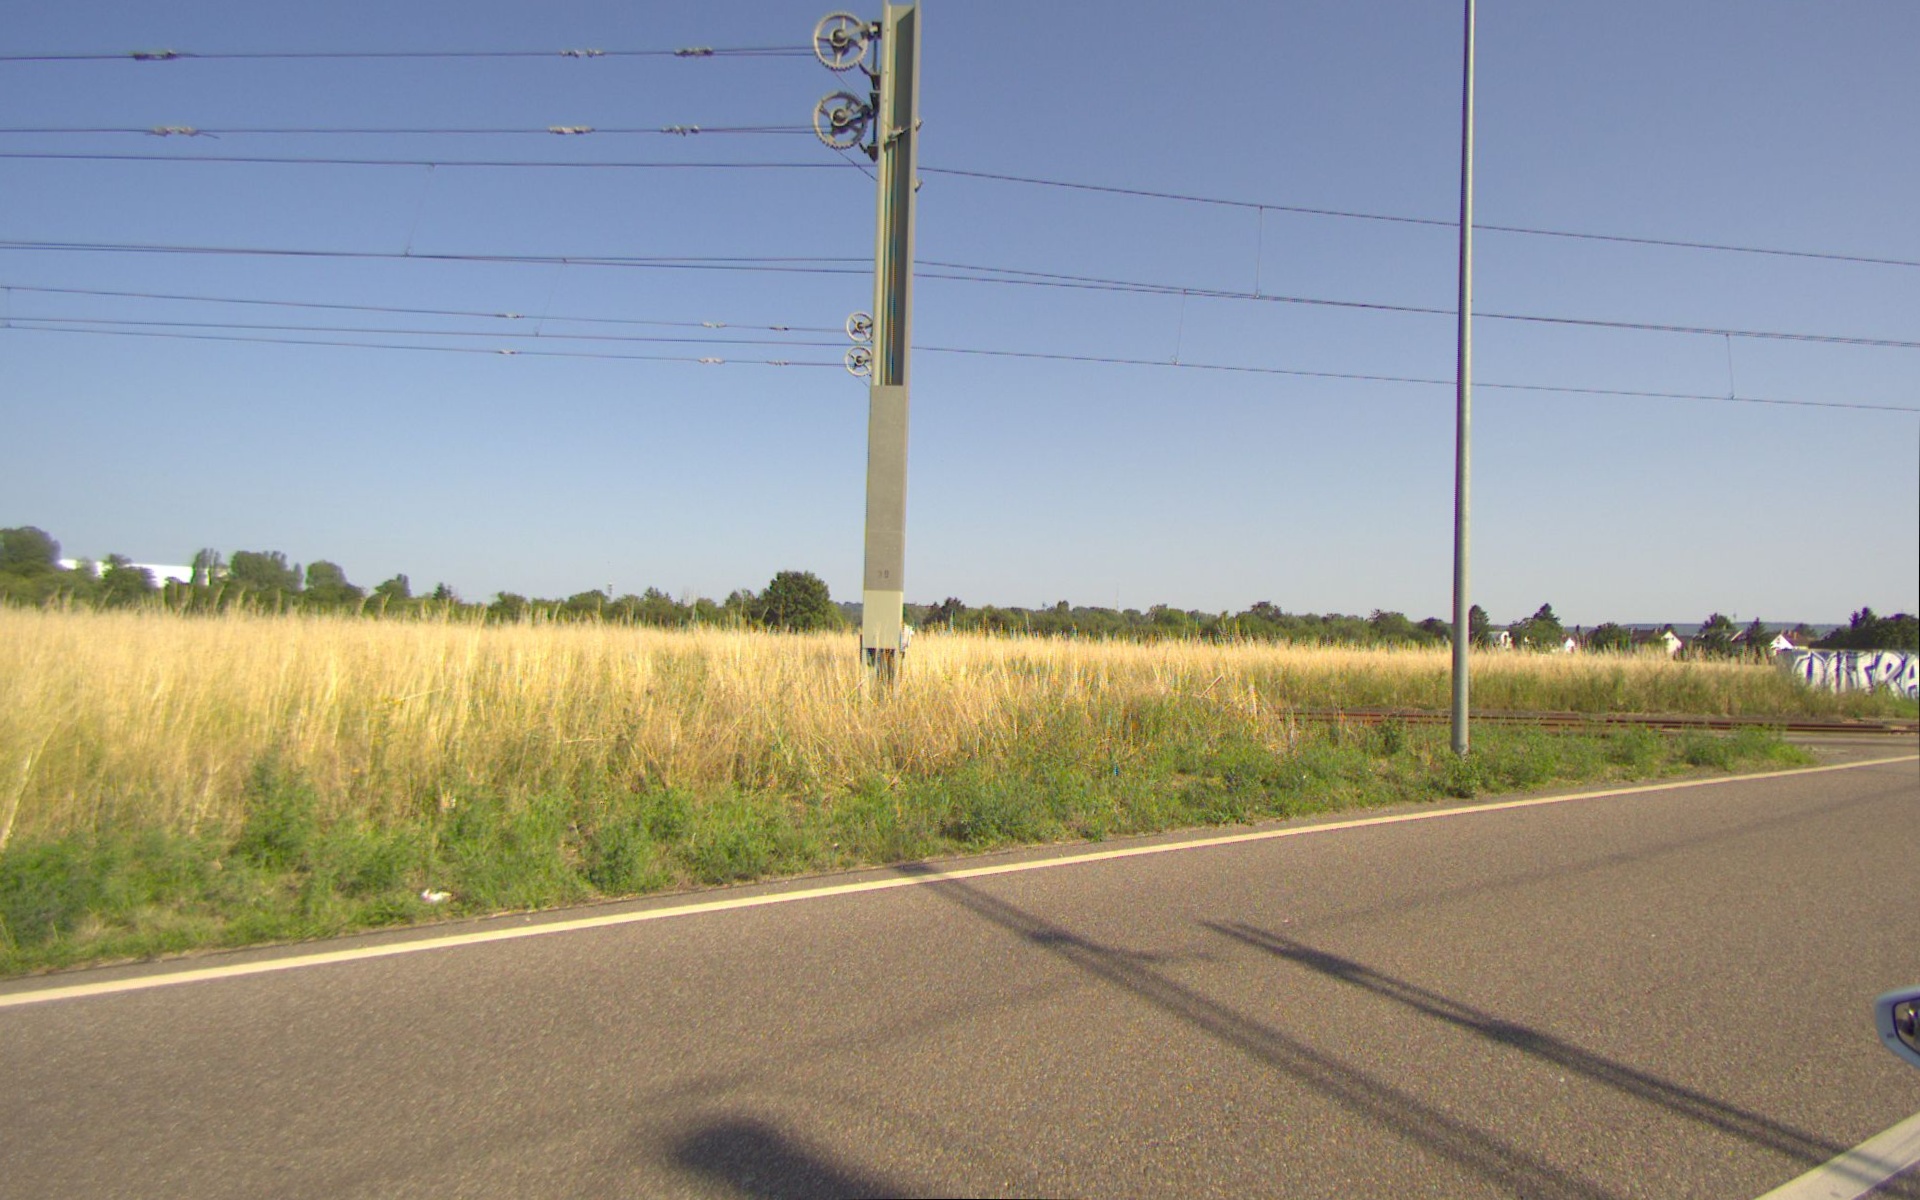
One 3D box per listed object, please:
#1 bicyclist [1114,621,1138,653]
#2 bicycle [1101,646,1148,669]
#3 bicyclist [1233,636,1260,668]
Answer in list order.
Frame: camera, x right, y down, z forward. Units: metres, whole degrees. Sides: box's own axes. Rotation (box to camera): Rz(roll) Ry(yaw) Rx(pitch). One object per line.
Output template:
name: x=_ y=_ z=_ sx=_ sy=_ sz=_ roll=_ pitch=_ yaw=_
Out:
bicyclist: x=6.488 y=1.463 z=39.364 sx=0.775 sy=1.221 sz=0.603 roll=2 pitch=-1 yaw=-8
bicycle: x=6.440 y=2.256 z=39.345 sx=1.704 sy=0.850 sz=0.614 roll=2 pitch=-1 yaw=-7
bicyclist: x=11.279 y=2.036 z=39.595 sx=0.775 sy=1.221 sz=0.747 roll=2 pitch=-1 yaw=-8
